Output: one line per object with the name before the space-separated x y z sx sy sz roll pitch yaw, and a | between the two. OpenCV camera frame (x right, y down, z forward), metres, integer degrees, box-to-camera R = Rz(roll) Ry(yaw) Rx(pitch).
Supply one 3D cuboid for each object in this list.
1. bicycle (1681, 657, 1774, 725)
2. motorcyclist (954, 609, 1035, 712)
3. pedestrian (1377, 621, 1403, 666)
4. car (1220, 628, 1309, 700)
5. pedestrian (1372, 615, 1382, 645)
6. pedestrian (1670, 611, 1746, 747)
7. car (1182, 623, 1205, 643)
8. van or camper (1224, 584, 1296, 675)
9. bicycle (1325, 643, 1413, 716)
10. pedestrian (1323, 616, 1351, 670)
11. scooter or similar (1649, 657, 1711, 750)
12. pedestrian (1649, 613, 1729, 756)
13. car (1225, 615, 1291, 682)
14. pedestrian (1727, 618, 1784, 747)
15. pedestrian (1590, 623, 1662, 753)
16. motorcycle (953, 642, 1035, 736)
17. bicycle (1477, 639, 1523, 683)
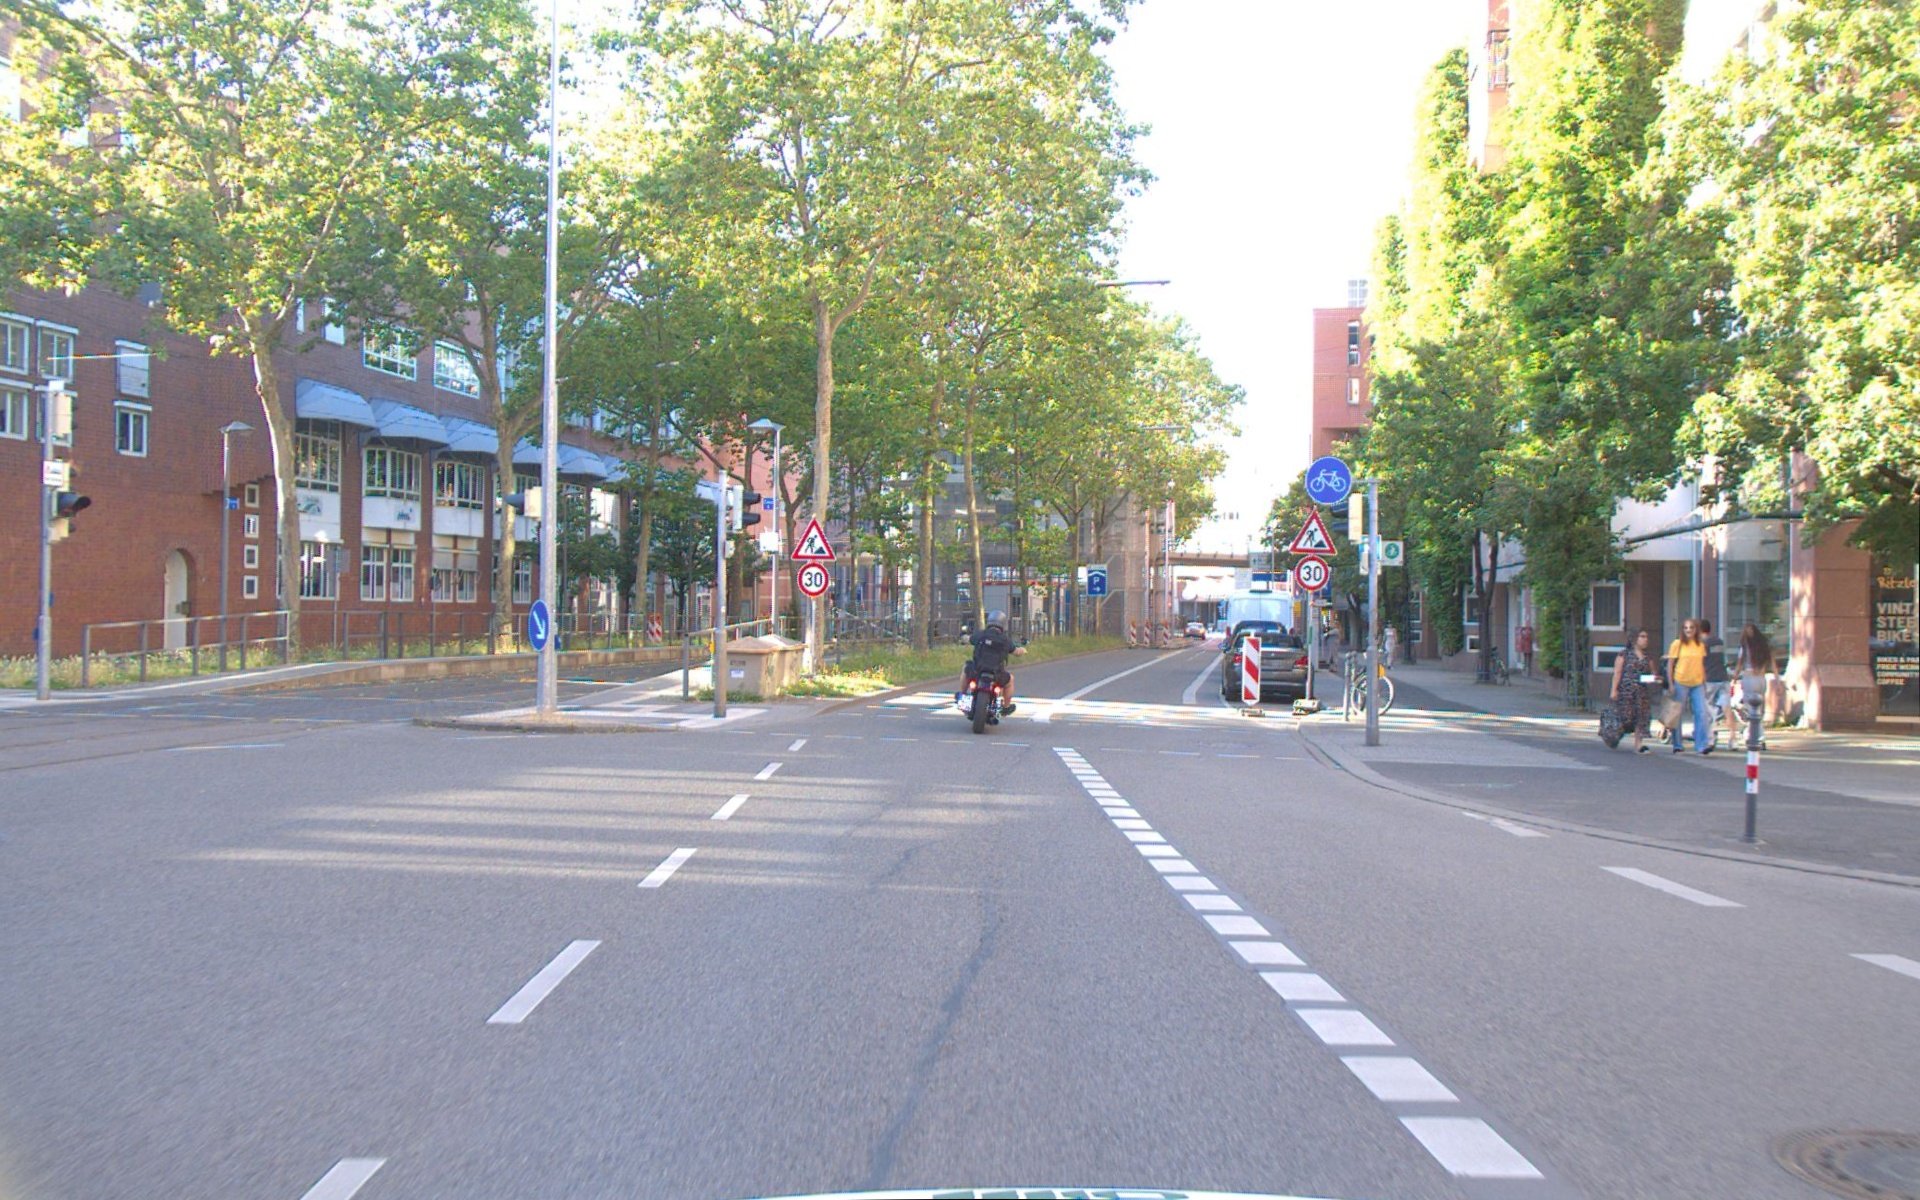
bicycle | 11.936 1.398 25.767 0.721 0.956 1.753 1 0 4
motorcyclist | 0.448 0.786 21.842 0.991 1.285 0.774 3 0 0
pedestrian | 14.300 1.448 55.013 0.749 1.471 0.781 1 -1 12
car | 6.134 1.254 33.676 1.585 1.325 4.315 1 0 8
pedestrian | 22.966 1.649 91.031 0.440 1.655 0.374 1 -1 -2
pedestrian | 10.058 1.053 22.260 0.769 1.794 0.610 1 -1 7
car | 20.588 2.896 145.851 1.812 1.747 4.002 1 -1 6
van or camper | 9.022 0.864 50.044 2.005 2.585 5.777 1 0 9
bicycle | 6.525 1.253 26.464 0.723 1.071 1.748 1 0 -9
pedestrian | 11.896 1.354 52.214 0.747 1.673 0.547 1 -1 2
scooter or similar | 9.702 1.383 22.307 0.386 1.178 1.250 1 0 5
pedestrian | 9.218 1.049 20.936 0.685 1.764 0.768 1 -1 3
car | 7.817 1.228 43.603 1.585 1.648 4.488 1 0 9
pedestrian | 10.762 1.104 22.386 0.449 1.702 0.680 1 -1 2
pedestrian | 8.468 1.101 21.048 0.631 1.606 0.748 1 -1 3
motorcycle | 0.426 1.138 21.709 0.997 1.116 2.007 1 0 0
bicycle | 13.558 1.529 41.561 0.604 1.038 1.914 1 0 2
